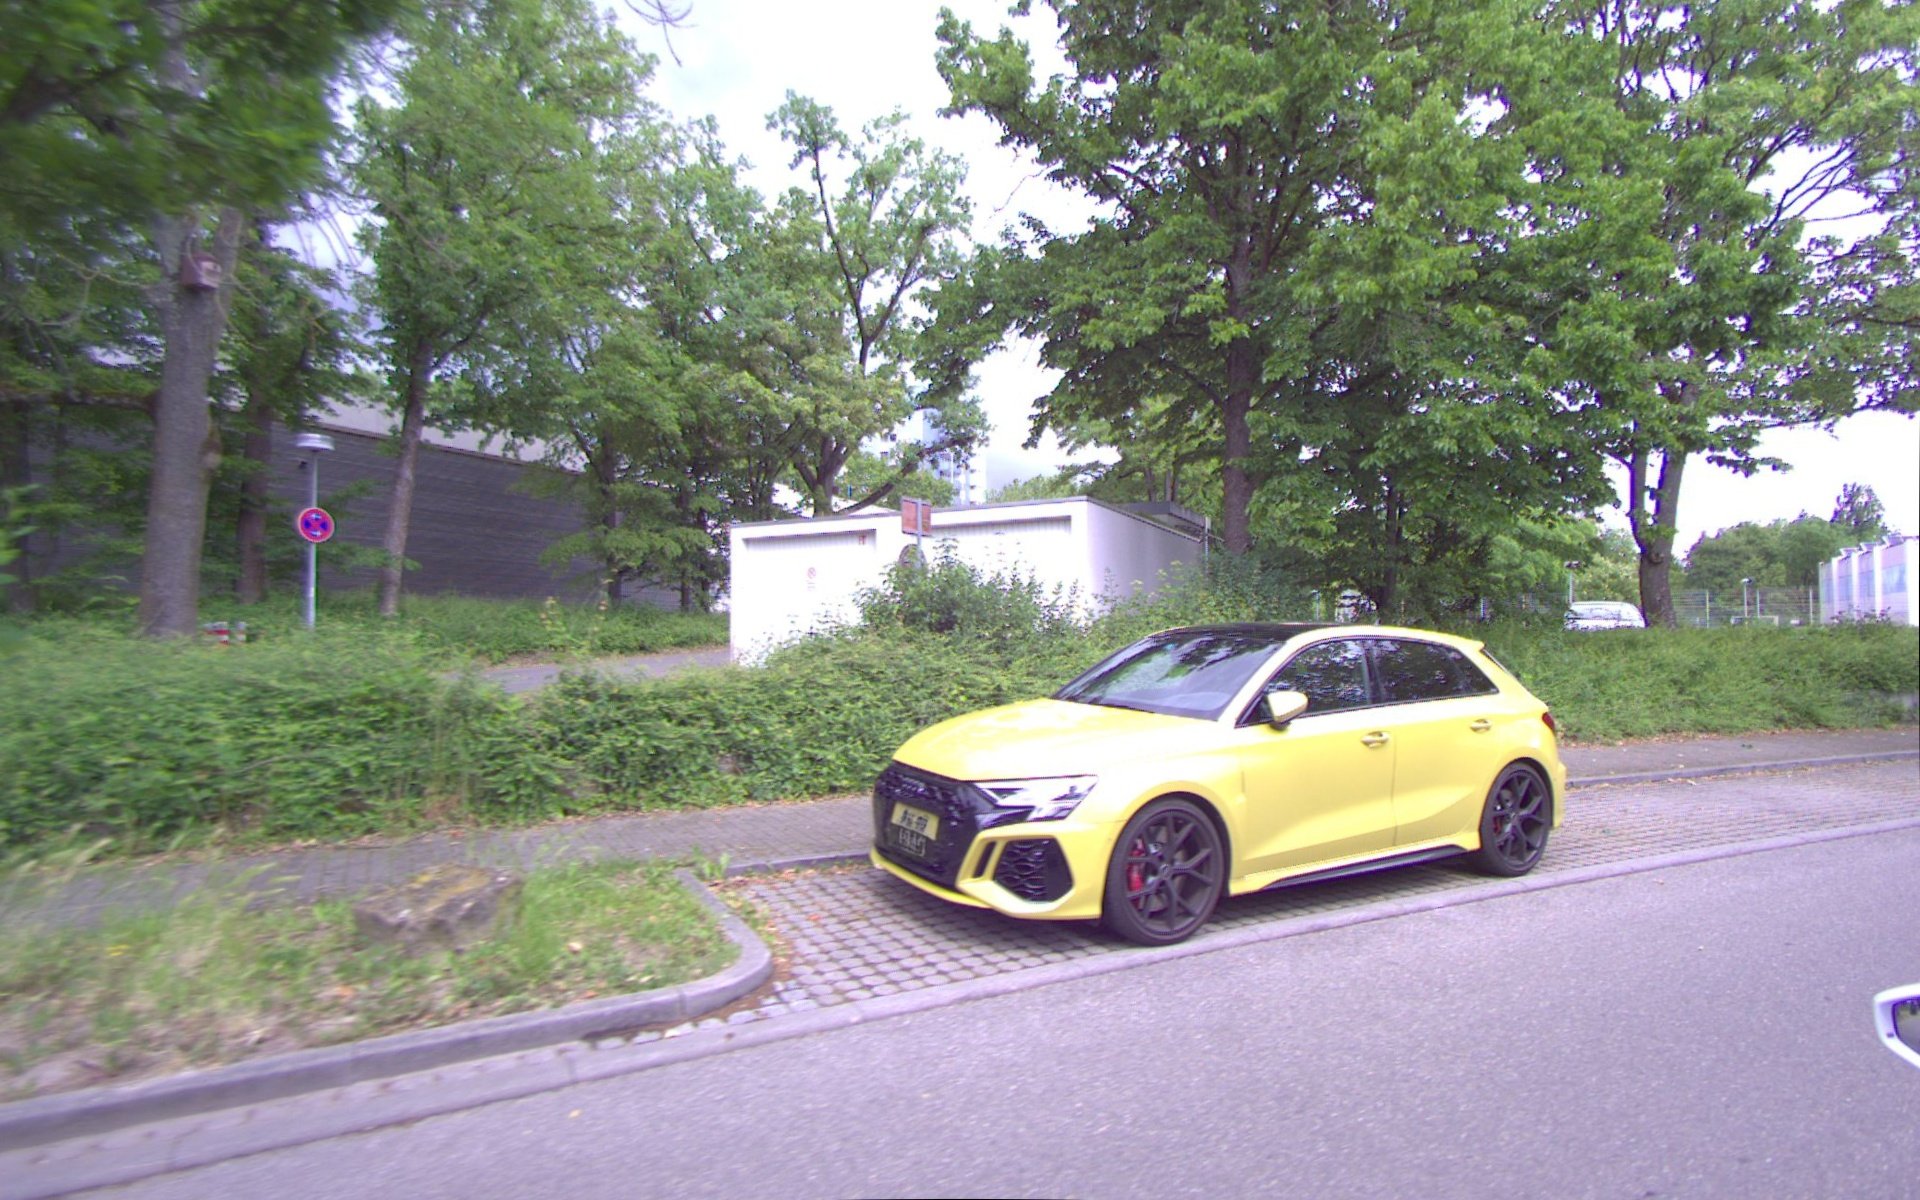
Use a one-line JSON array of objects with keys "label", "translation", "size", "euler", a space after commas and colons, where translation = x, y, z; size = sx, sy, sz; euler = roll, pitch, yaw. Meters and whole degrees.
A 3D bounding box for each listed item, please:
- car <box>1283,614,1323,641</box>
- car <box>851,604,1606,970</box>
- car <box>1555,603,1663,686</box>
[{"label": "car", "translation": [22.725, 1.820, 66.402], "size": [1.963, 1.706, 3.996], "euler": [-2, -2, 27]}, {"label": "car", "translation": [1.660, 0.795, 5.726], "size": [4.223, 1.421, 1.692], "euler": [2, -2, -30]}, {"label": "car", "translation": [14.097, 0.913, 22.002], "size": [1.715, 1.643, 3.866], "euler": [-2, -1, 30]}]
